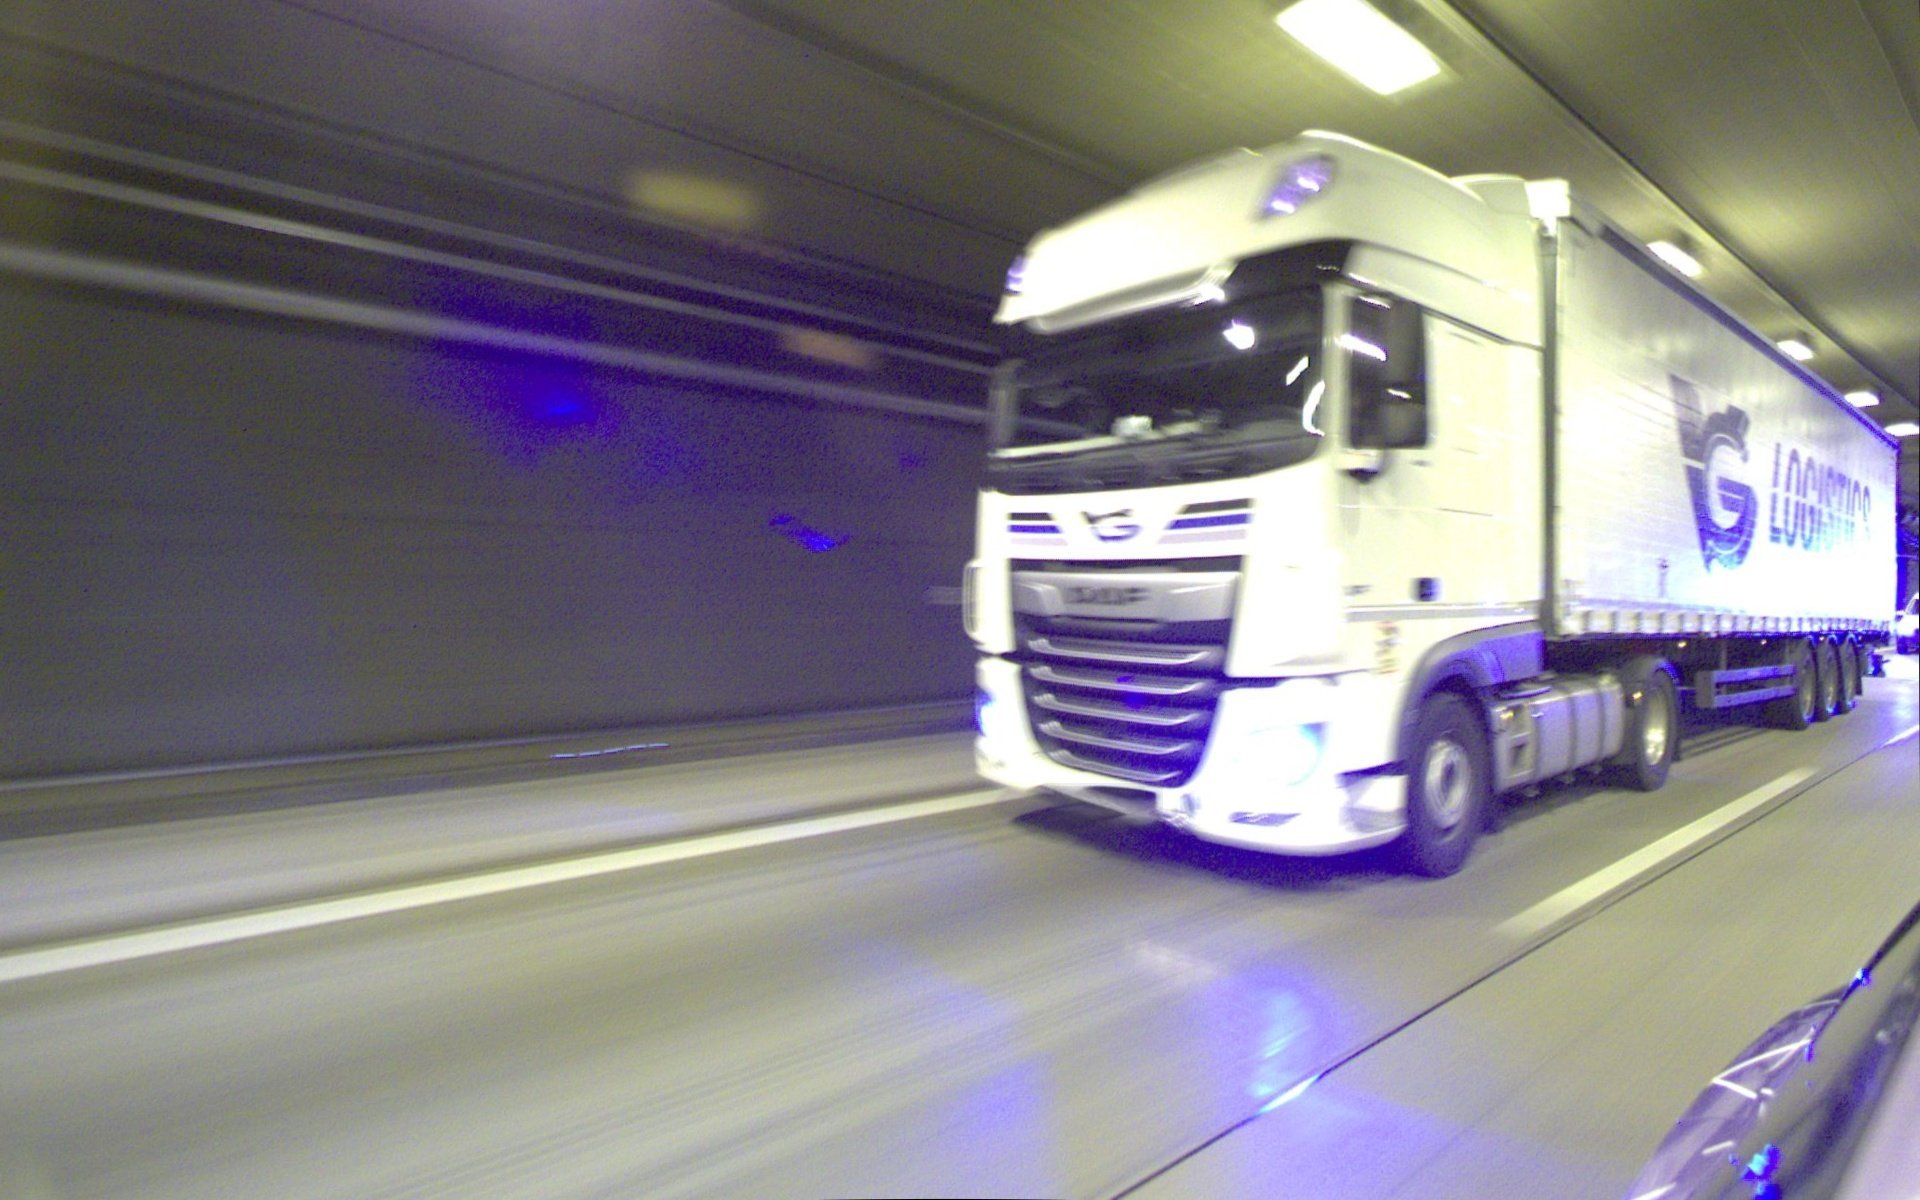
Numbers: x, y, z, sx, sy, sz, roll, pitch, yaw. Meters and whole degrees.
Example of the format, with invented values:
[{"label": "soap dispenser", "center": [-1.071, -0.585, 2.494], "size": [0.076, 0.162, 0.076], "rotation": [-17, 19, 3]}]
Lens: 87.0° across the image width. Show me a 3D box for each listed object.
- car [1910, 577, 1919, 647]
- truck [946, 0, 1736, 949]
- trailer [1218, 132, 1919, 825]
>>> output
[{"label": "car", "center": [28.086, 0.324, 28.290], "size": [4.213, 1.883, 1.838], "rotation": [0, 0, -41]}, {"label": "truck", "center": [3.028, -0.649, 7.197], "size": [5.897, 4.216, 2.652], "rotation": [0, -1, -39]}, {"label": "trailer", "center": [8.213, -0.759, 11.584], "size": [13.752, 4.216, 2.625], "rotation": [0, -1, -40]}]
